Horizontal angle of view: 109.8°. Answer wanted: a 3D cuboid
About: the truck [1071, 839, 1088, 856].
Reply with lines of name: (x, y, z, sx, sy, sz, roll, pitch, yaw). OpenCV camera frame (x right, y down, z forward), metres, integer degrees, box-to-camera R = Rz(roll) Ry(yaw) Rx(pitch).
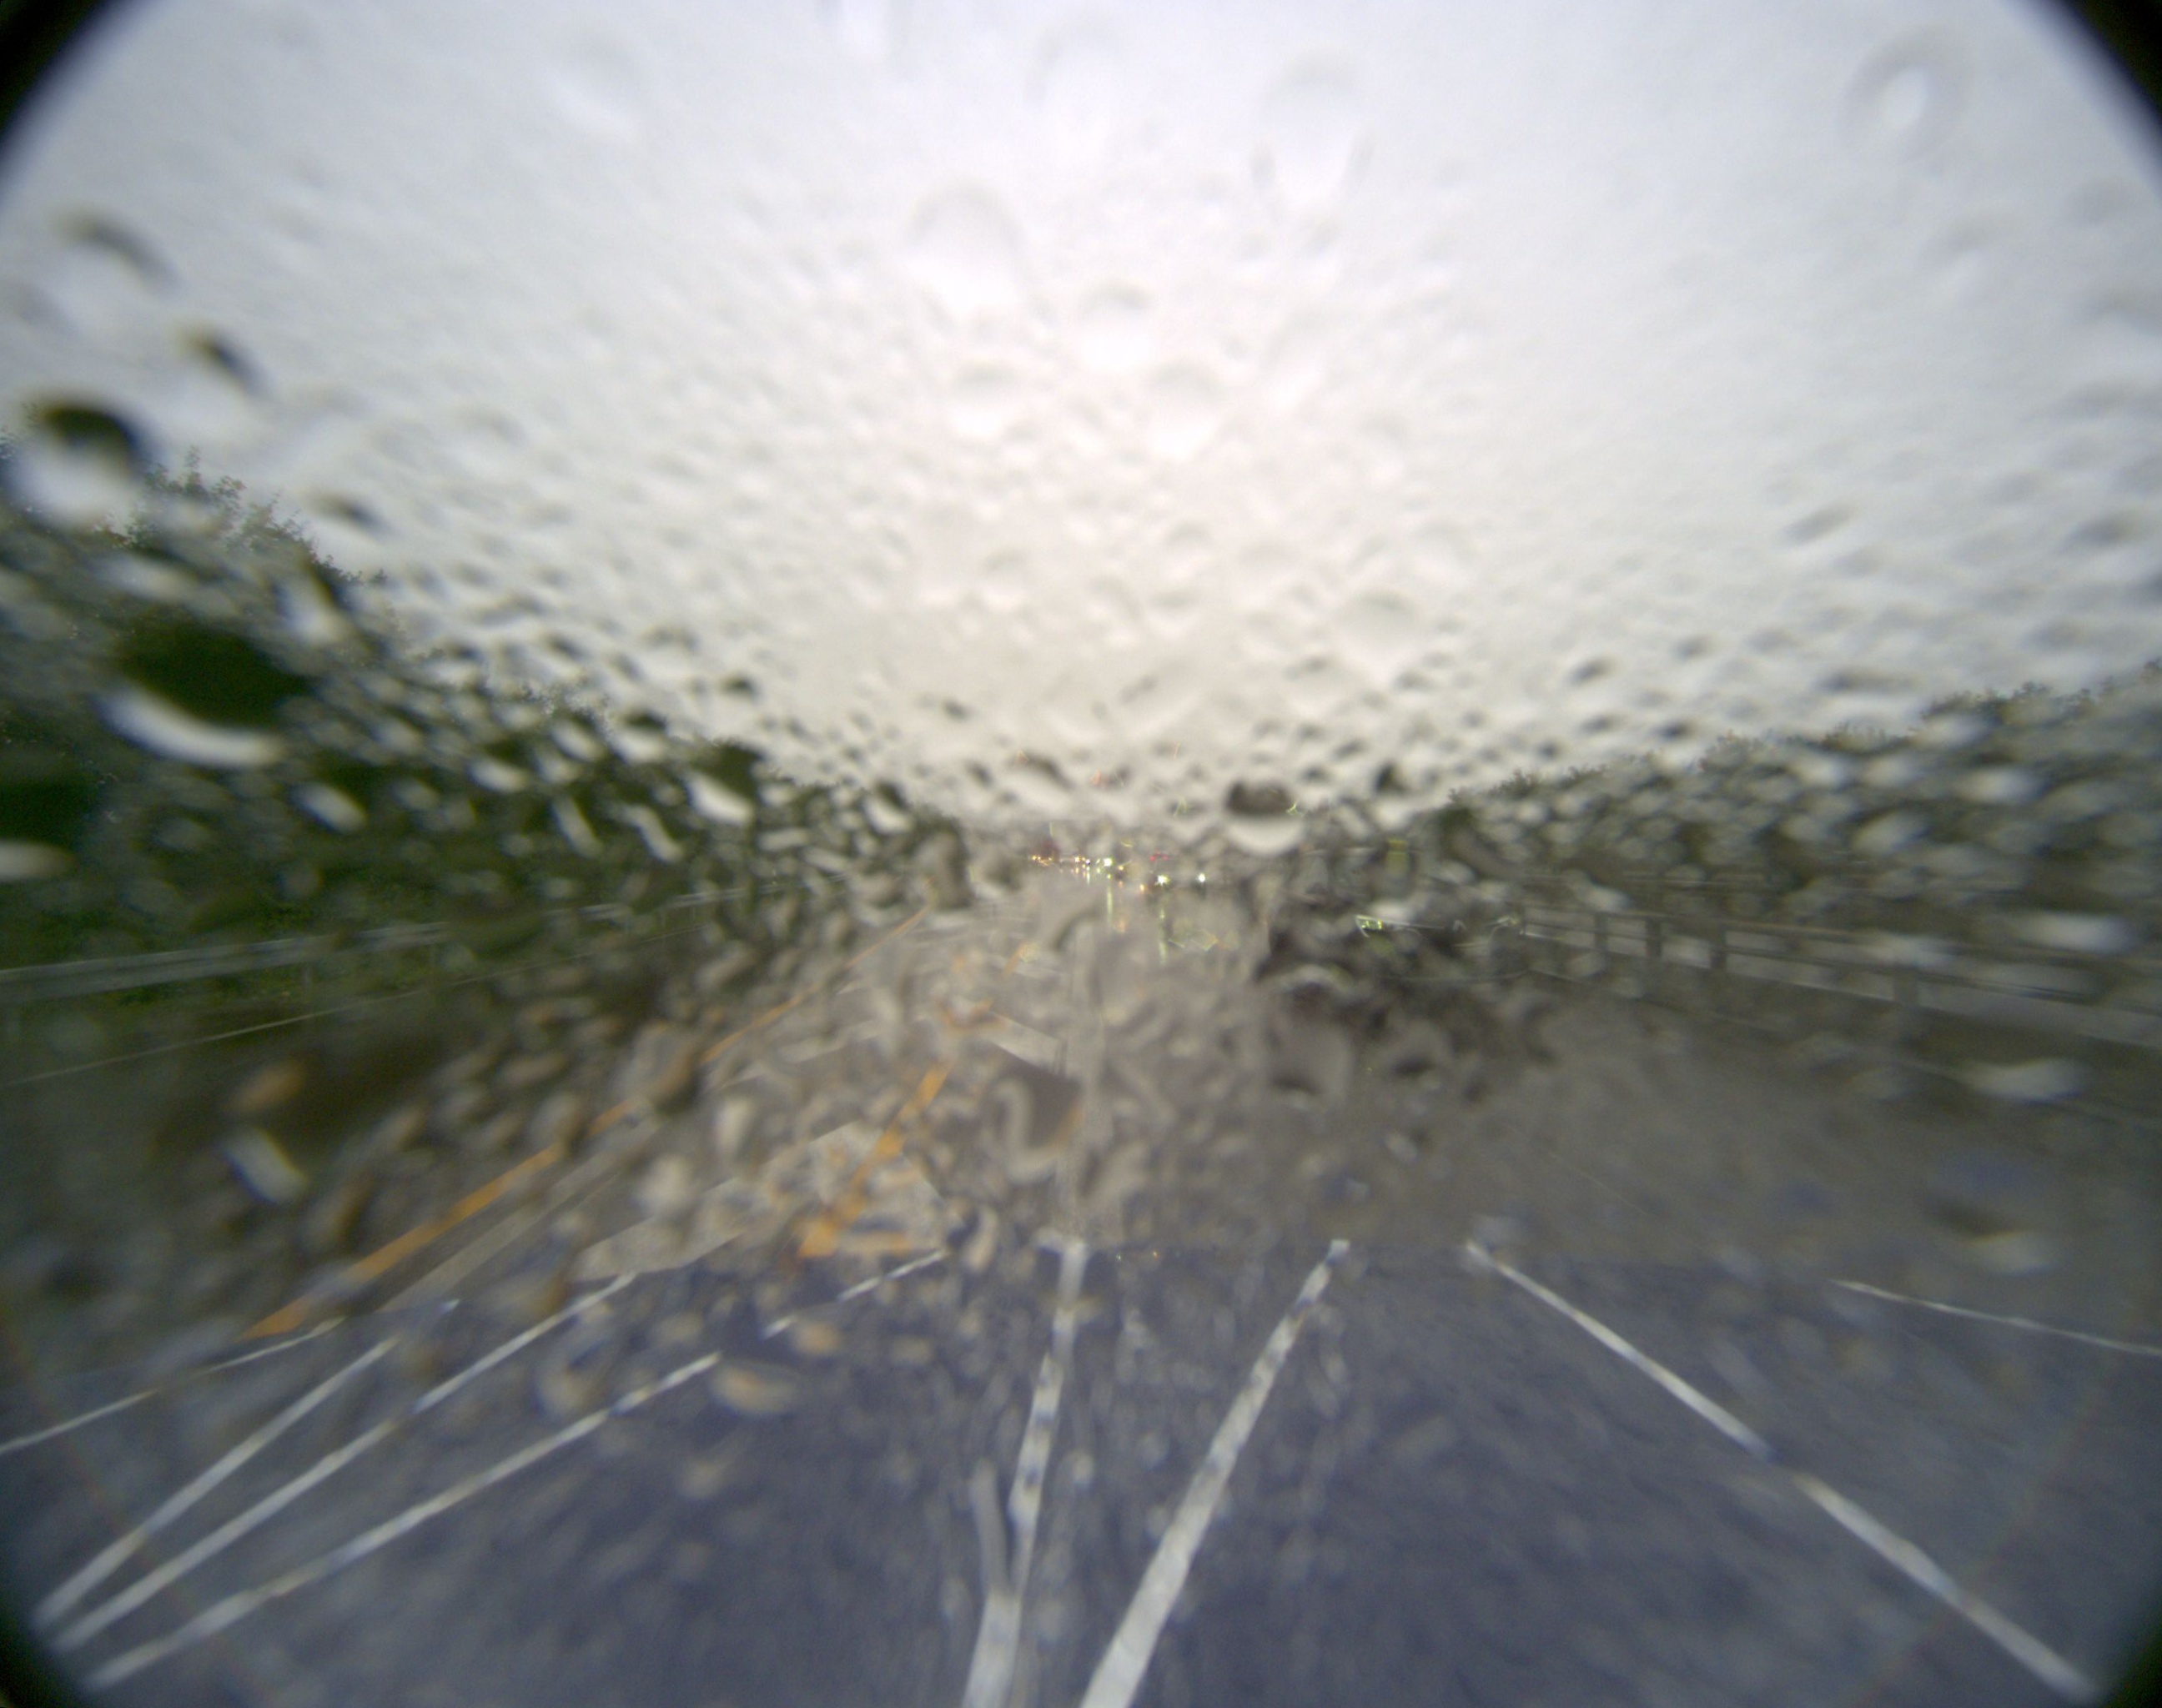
truck: (-0.625, -2.030, 227.684, 3.284, 4.808, 15.976, -2, 0, -6)

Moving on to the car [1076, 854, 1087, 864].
car: (0.151, 0.871, 134.680, 1.845, 1.586, 3.999, -2, 0, -1)

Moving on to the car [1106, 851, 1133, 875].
car: (3.517, 0.815, 70.835, 2.211, 2.002, 5.563, -2, 0, 0)

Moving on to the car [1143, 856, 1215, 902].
car: (3.550, 0.870, 28.441, 1.999, 1.489, 4.630, -2, 0, -1)

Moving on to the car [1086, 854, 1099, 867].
car: (1.626, 0.874, 106.955, 1.695, 1.740, 3.999, -2, 0, -1)

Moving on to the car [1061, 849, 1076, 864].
car: (-1.713, 0.310, 102.080, 1.881, 2.002, 3.999, -2, 0, -1)

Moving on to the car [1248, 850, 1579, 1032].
car: (3.496, 0.778, 9.084, 1.998, 1.576, 4.413, -2, 0, 0)

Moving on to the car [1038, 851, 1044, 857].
car: (-12.261, 0.023, 232.481, 1.752, 1.579, 3.999, -2, 0, -1)

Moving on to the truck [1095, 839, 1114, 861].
truck: (5.330, -0.886, 173.279, 3.283, 4.808, 15.982, -2, 0, -1)

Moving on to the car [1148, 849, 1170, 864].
car: (9.127, 0.278, 89.197, 1.956, 1.707, 5.102, -2, 0, -1)

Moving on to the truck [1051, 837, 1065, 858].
truck: (-4.507, -1.265, 149.828, 2.484, 4.060, 8.703, -2, 0, -1)

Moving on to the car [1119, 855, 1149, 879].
car: (3.722, 0.937, 53.517, 1.978, 1.586, 4.311, -1, -1, 3)

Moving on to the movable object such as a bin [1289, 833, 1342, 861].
movable object such as a bin: (25.888, -0.765, 84.194, 3.774, 2.782, 6.329, -2, 0, 0)

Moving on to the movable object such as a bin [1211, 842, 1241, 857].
movable object such as a bin: (23.864, -0.761, 125.556, 3.448, 2.281, 5.098, -2, 0, -7)
